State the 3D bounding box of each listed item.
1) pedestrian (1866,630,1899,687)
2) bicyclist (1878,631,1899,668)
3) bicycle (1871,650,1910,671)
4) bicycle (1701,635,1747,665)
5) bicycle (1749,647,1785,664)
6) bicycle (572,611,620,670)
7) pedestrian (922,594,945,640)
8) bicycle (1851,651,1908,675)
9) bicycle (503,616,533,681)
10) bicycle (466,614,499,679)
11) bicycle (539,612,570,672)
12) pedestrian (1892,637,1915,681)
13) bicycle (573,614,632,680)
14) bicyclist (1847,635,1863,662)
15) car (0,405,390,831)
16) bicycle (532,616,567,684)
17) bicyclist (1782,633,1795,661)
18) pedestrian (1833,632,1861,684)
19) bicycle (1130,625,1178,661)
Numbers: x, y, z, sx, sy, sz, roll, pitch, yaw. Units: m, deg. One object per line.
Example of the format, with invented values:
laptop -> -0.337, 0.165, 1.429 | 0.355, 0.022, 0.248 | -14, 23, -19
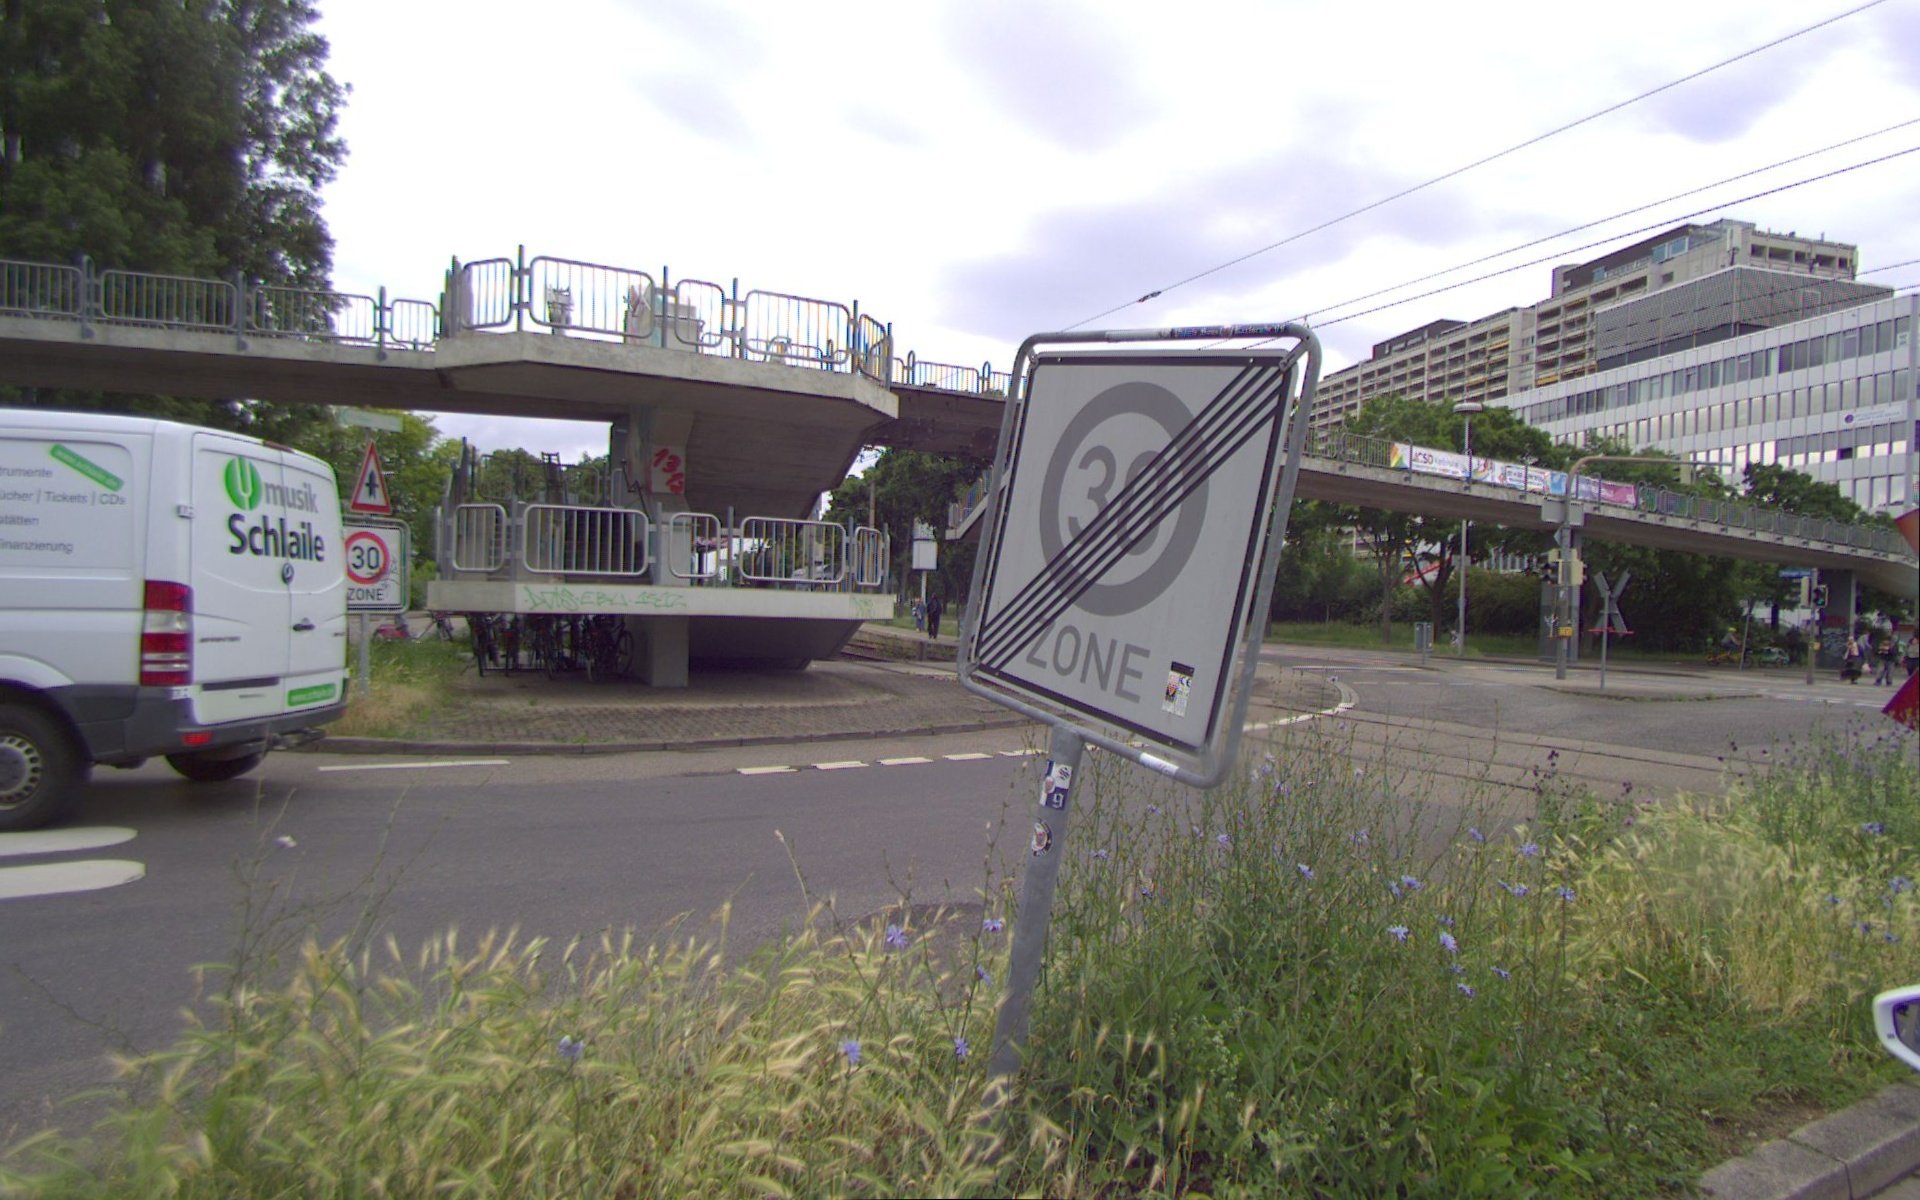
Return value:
pedestrian -> 30.413, 1.909, 33.113 | 0.795, 1.828, 0.632 | 2, 0, -39
bicyclist -> 43.211, 2.299, 46.738 | 0.525, 1.666, 0.562 | 2, 0, -29
bicycle -> 43.187, 2.809, 46.594 | 2.494, 0.938, 0.628 | 2, 0, -31
bicycle -> 36.062, 2.342, 47.435 | 1.682, 1.321, 0.388 | 2, 0, 36
bicycle -> 38.380, 2.643, 47.801 | 1.273, 0.701, 0.290 | 2, 1, 25
bicycle -> -6.021, 0.653, 16.566 | 0.390, 0.897, 1.627 | 2, 0, -32
pedestrian -> -0.964, 0.634, 36.851 | 0.594, 1.664, 0.659 | 2, 0, -25
bicycle -> 40.837, 2.794, 44.599 | 1.916, 0.961, 0.764 | 2, 0, -5
bicycle -> -6.812, 0.727, 15.467 | 0.389, 0.897, 1.632 | 2, 0, -24
bicycle -> -7.218, 0.684, 15.210 | 0.389, 0.897, 1.632 | 2, 0, -24
bicycle -> -6.683, 0.675, 16.534 | 0.389, 0.897, 1.632 | 2, 0, -24
pedestrian -> 35.863, 2.229, 38.200 | 0.572, 1.600, 0.777 | 2, 0, 42
bicycle -> -5.282, 0.672, 14.903 | 0.387, 0.897, 1.741 | 2, 0, -6
bicyclist -> 40.022, 2.158, 44.898 | 0.372, 1.197, 0.403 | 1, 1, -28
car -> -6.833, 0.048, 6.348 | 5.112, 2.323, 2.138 | 2, 0, -8
bicycle -> -5.977, 0.702, 14.604 | 0.389, 0.897, 1.632 | 2, 0, -24
bicyclist -> 40.002, 2.278, 48.492 | 0.376, 1.321, 0.278 | 2, 0, 24
pedestrian -> 29.660, 1.936, 33.596 | 0.402, 1.714, 0.612 | 2, 0, -43
bicycle -> 5.463, 1.200, 28.405 | 0.368, 0.934, 2.029 | 2, 0, -18
